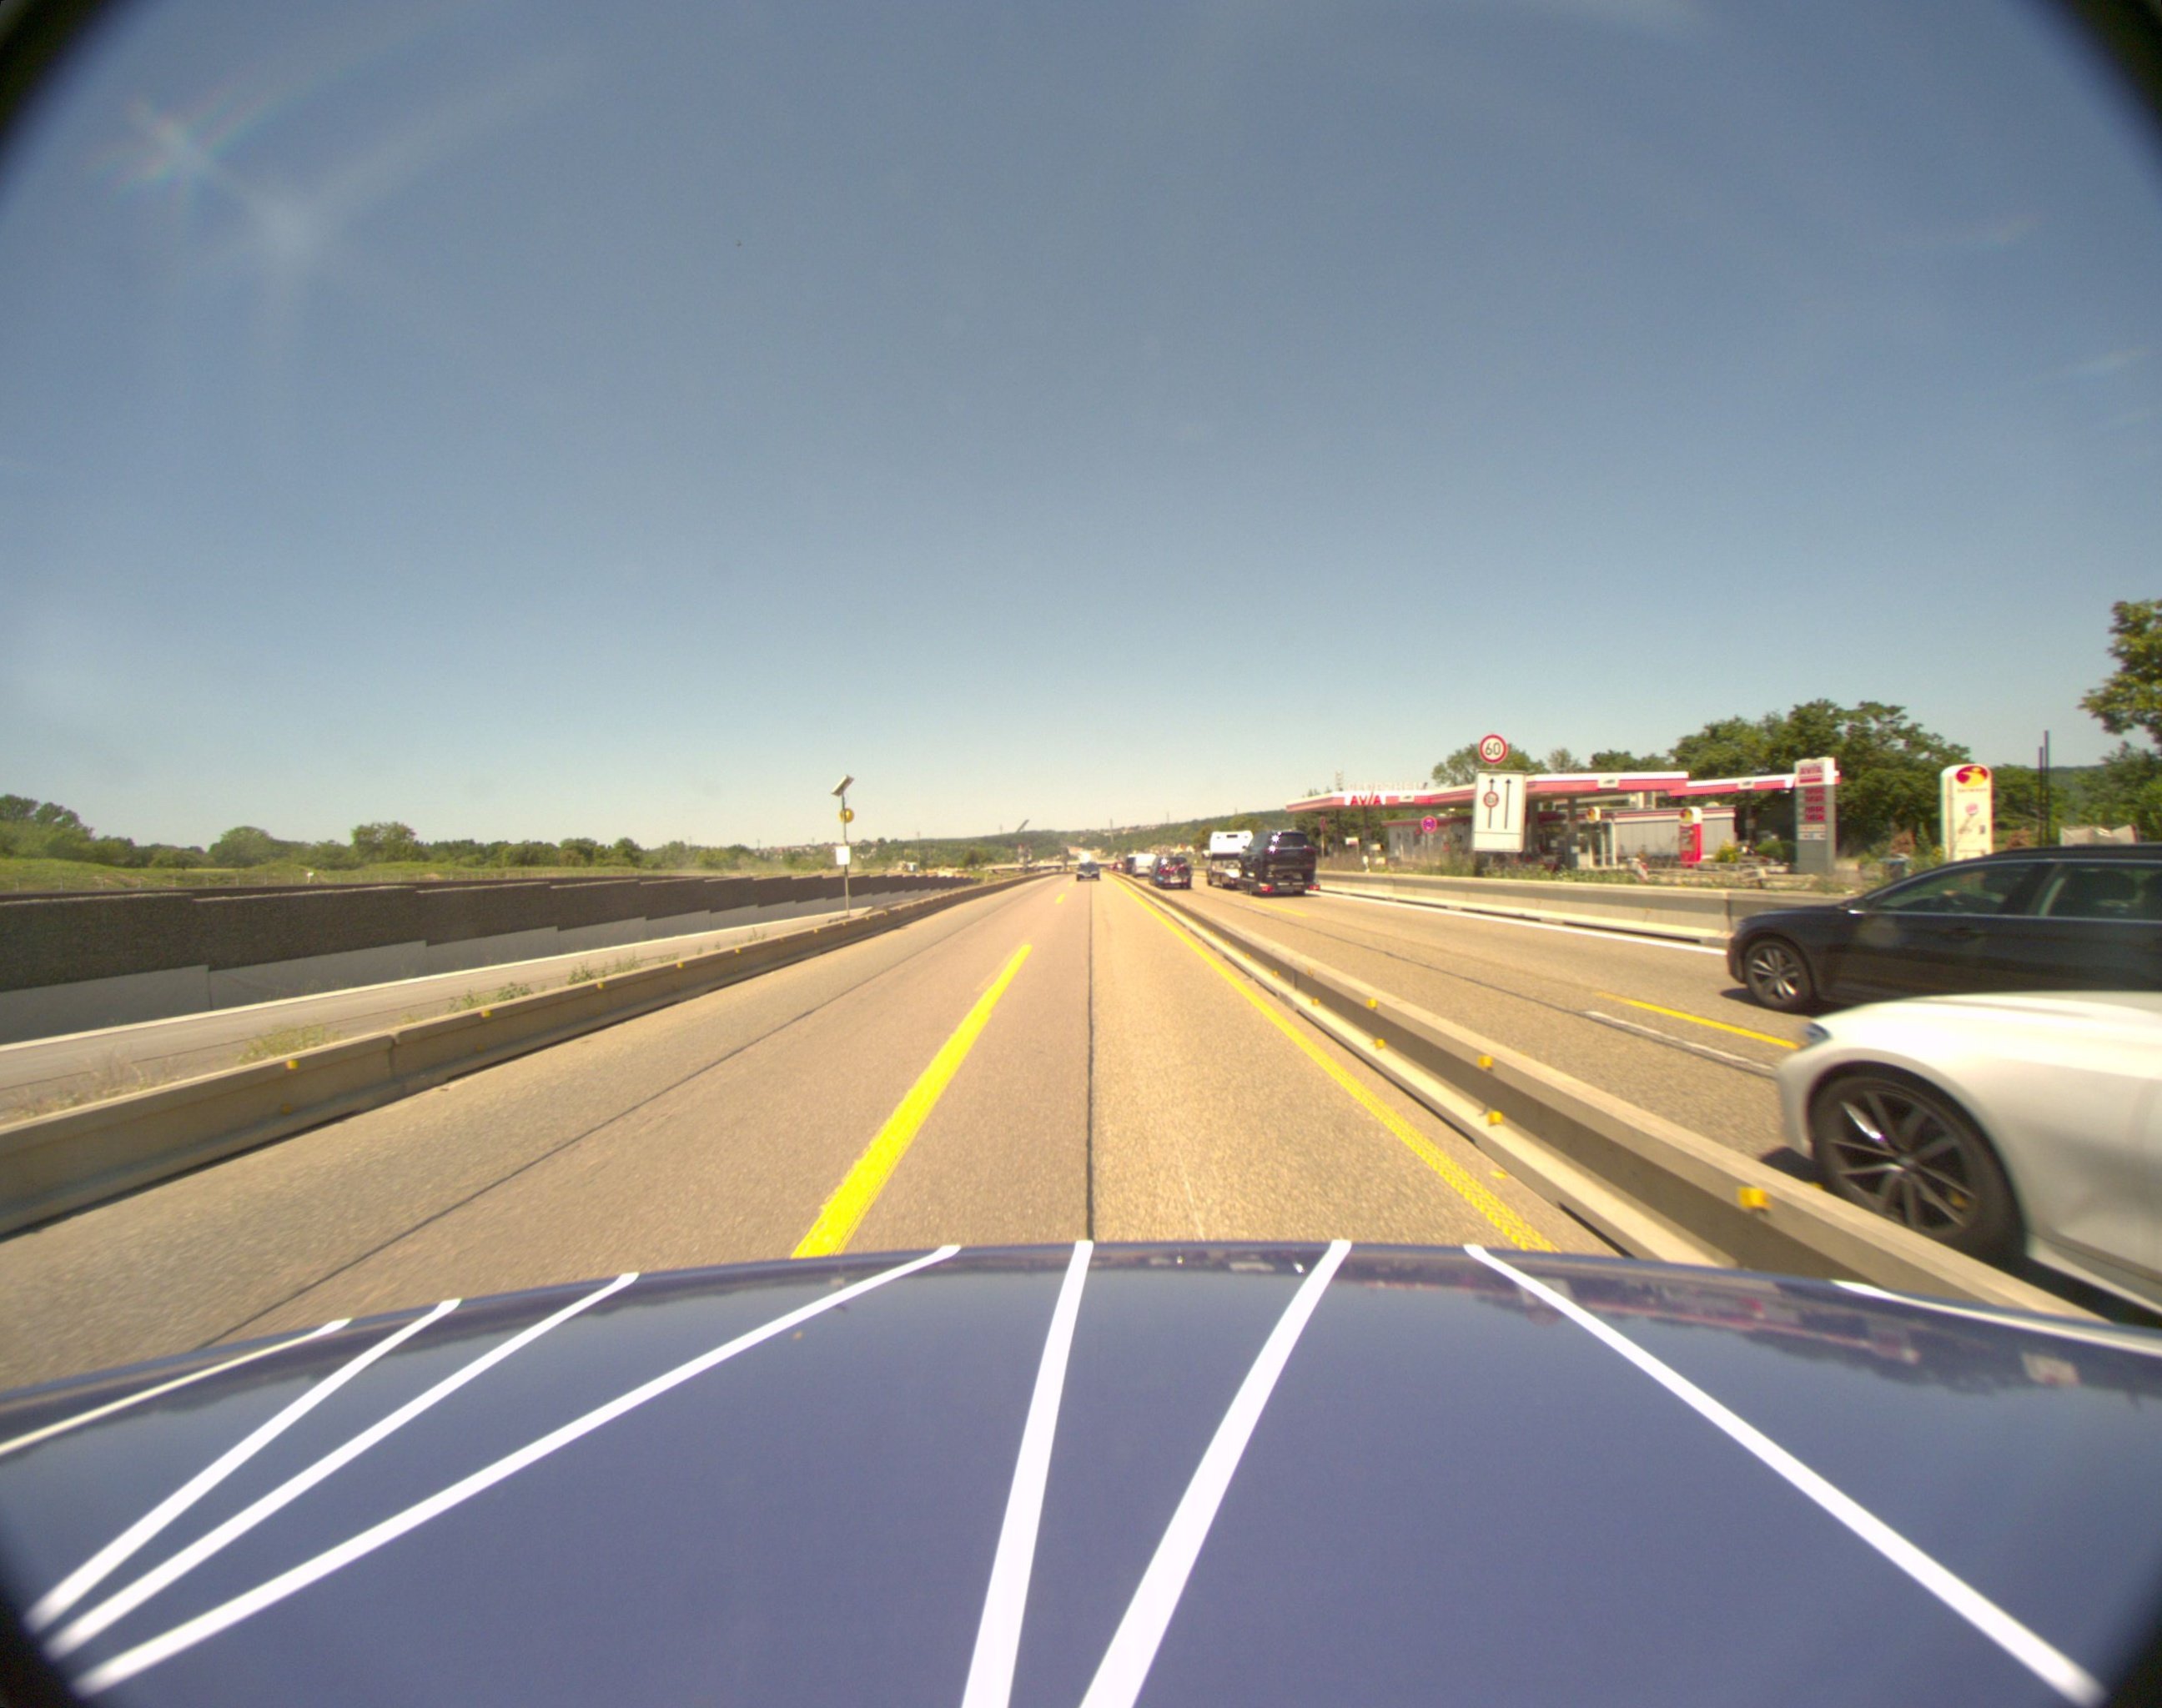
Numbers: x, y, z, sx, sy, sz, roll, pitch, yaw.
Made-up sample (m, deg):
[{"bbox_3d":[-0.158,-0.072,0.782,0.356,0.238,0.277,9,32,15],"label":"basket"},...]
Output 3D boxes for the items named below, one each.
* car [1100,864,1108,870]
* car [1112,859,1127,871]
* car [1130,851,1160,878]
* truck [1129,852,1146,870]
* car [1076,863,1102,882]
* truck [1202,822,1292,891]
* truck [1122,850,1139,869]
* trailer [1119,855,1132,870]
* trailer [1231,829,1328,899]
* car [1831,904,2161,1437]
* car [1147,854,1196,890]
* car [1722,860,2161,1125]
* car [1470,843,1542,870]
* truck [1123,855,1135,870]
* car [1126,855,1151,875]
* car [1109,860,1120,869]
[{"bbox_3d":[5.407,3.119,179.362,1.685,1.420,4.203,-3,-1,3],"label":"car"},{"bbox_3d":[5.301,1.569,104.604,1.860,1.594,4.736,-2,-1,0],"label":"car"},{"bbox_3d":[4.719,0.775,56.448,1.858,1.828,4.591,-2,-1,0],"label":"car"},{"bbox_3d":[9.210,1.131,123.698,2.245,2.769,6.493,-2,-1,0],"label":"truck"},{"bbox_3d":[0.637,1.367,55.795,1.810,1.299,4.001,-1,-1,2],"label":"car"},{"bbox_3d":[7.500,0.137,35.450,2.486,2.807,8.130,-2,0,1],"label":"truck"},{"bbox_3d":[9.114,1.070,140.399,2.501,3.272,8.117,-2,0,0],"label":"truck"},{"bbox_3d":[12.448,2.422,214.059,3.014,4.173,13.855,-2,-1,2],"label":"trailer"},{"bbox_3d":[7.292,0.373,28.582,2.187,2.301,5.614,-2,0,1],"label":"trailer"},{"bbox_3d":[3.785,0.870,0.796,1.821,1.368,4.247,0,0,0],"label":"car"},{"bbox_3d":[4.257,0.837,36.393,1.909,1.599,4.001,-2,-1,1],"label":"car"},{"bbox_3d":[6.853,0.776,4.952,1.691,1.444,4.336,-1,0,0],"label":"car"},{"bbox_3d":[23.692,0.121,42.554,1.755,1.403,4.316,1,0,2],"label":"car"},{"bbox_3d":[10.707,1.903,170.779,2.395,3.364,7.717,-2,-1,3],"label":"truck"},{"bbox_3d":[5.379,1.023,71.793,1.912,1.794,5.082,-2,-1,0],"label":"car"},{"bbox_3d":[6.084,1.907,137.635,1.943,1.601,4.001,-2,-1,2],"label":"car"}]
